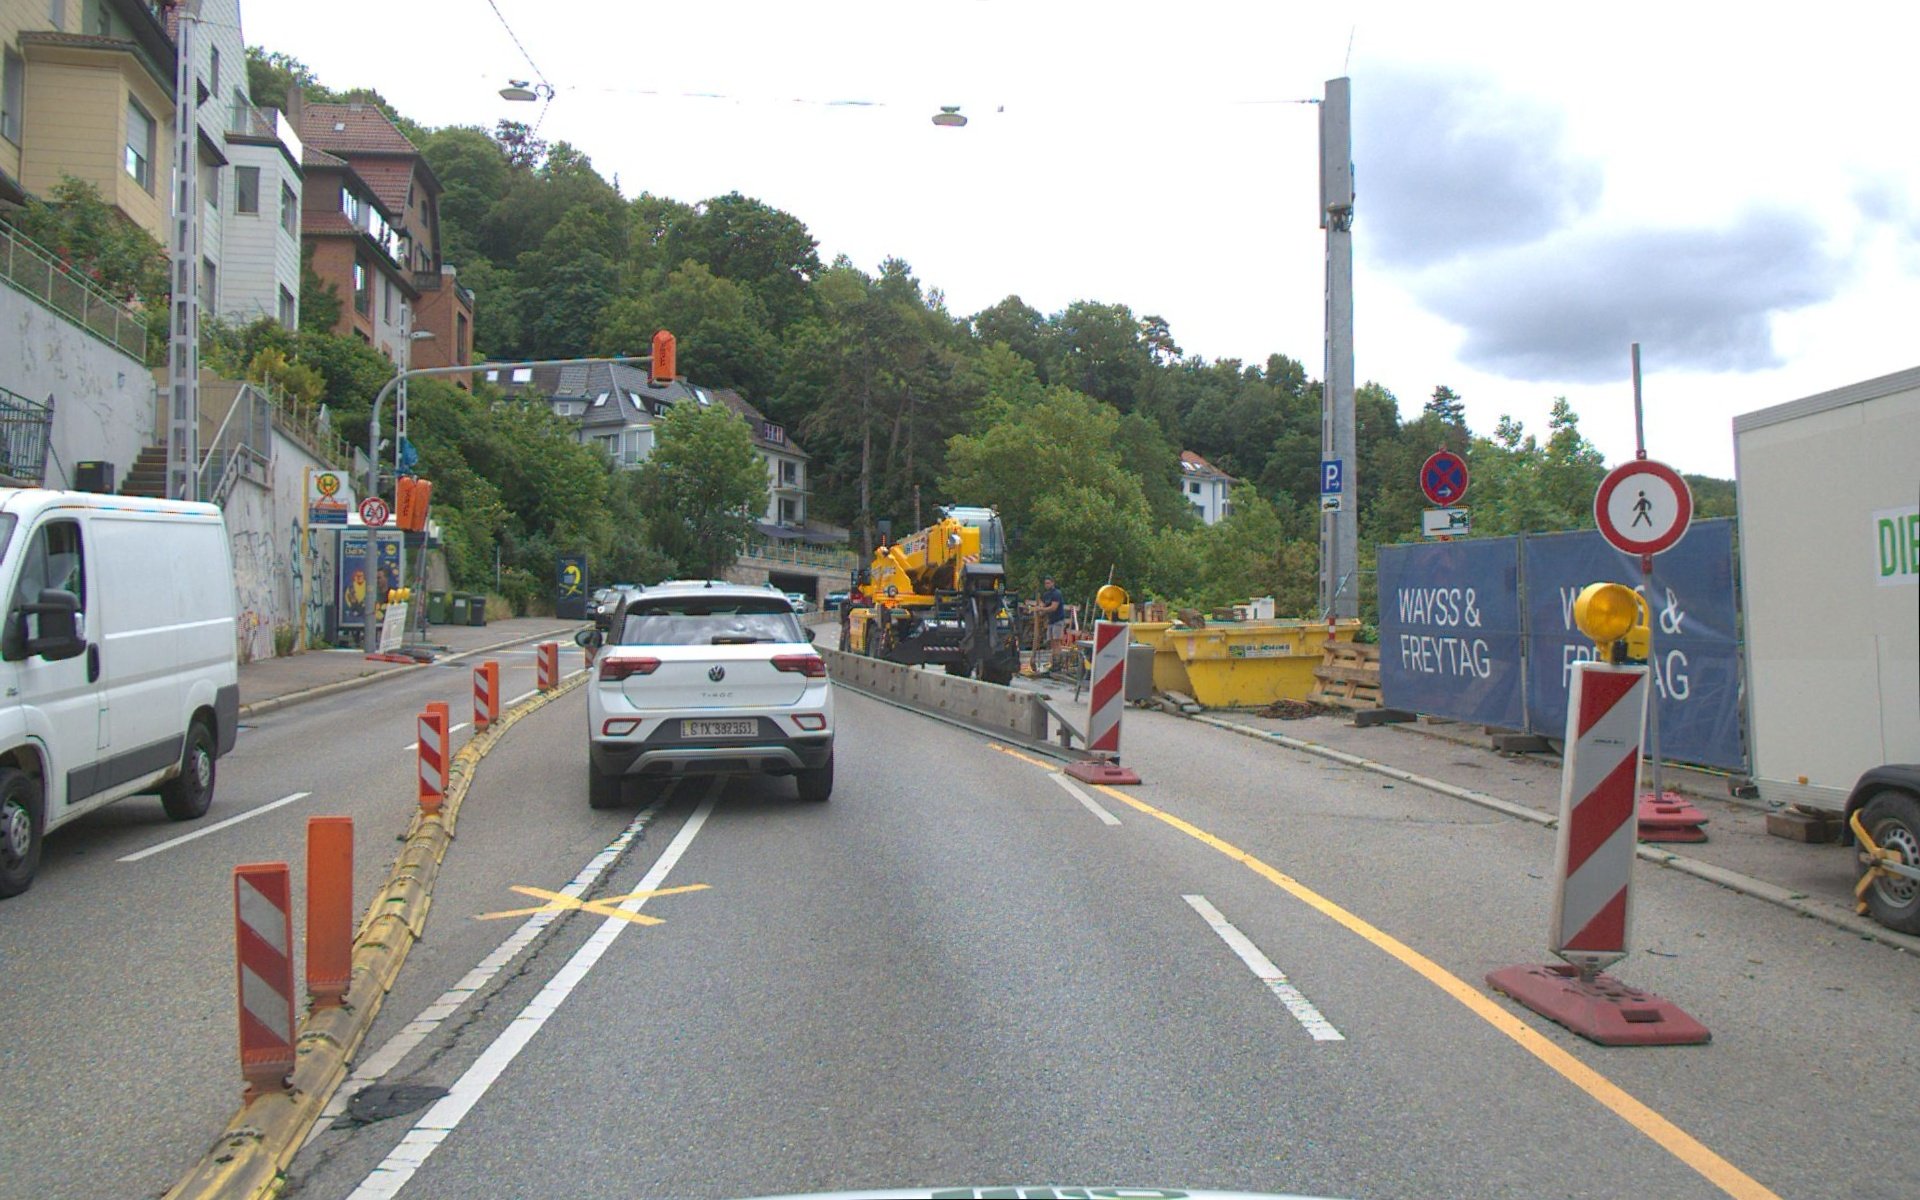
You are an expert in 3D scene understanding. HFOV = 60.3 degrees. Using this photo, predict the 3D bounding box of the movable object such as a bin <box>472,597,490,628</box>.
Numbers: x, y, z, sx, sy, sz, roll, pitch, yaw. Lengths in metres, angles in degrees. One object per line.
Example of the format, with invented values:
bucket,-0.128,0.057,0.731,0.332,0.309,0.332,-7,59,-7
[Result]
movable object such as a bin,-15.281,0.394,52.766,0.459,0.950,0.623,2,0,-9

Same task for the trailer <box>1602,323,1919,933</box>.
trailer,5.089,0.094,7.404,2.065,2.594,5.114,-2,0,-4

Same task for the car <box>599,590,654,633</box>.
car,-11.715,0.378,58.264,1.640,1.455,3.581,0,0,-8

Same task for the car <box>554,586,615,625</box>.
car,-15.952,0.226,70.414,1.758,1.536,3.998,3,0,-3

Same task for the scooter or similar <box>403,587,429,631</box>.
scooter or similar,-15.592,0.237,47.427,0.451,1.226,1.432,2,0,-10

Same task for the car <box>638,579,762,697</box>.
car,-4.185,0.537,26.227,1.777,1.692,3.989,-1,0,-11

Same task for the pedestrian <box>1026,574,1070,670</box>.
pedestrian,1.700,0.422,31.960,0.679,1.826,0.536,0,1,-21

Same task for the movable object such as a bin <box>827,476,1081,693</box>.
movable object such as a bin,-0.373,-0.245,28.092,2.762,3.124,7.800,1,0,-12

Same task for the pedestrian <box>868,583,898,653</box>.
pedestrian,-1.936,0.448,41.588,0.633,1.731,0.848,2,0,-8

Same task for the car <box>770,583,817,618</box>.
car,-8.461,0.017,84.307,1.772,1.692,4.002,-1,0,3

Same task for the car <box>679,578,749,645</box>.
car,-6.655,0.286,44.860,1.776,1.692,3.993,-1,0,-8

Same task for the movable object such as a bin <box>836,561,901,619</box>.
movable object such as a bin,-4.474,-0.489,81.298,2.164,2.709,4.949,1,0,9

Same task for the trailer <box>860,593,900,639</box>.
trailer,-2.724,0.528,56.685,1.262,1.501,3.633,1,0,-2

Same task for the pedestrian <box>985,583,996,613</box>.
pedestrian,2.000,-0.122,108.697,0.676,1.940,0.826,0,0,2

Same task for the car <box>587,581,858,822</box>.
car,-1.991,0.655,13.023,1.778,1.558,3.988,-1,0,-12

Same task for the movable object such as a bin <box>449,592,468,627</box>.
movable object such as a bin,-15.951,0.303,52.652,0.459,1.072,0.623,2,0,-9

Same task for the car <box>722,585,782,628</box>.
car,-8.626,0.246,68.896,1.772,1.692,4.002,-1,0,4

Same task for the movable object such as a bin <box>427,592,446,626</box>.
movable object such as a bin,-16.626,0.285,52.557,0.459,1.072,0.623,2,0,-9

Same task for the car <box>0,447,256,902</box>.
car,-5.969,0.374,9.773,2.028,2.225,4.953,-2,1,-8

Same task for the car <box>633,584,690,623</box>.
car,-12.958,0.142,71.994,1.804,1.627,4.262,0,0,-2

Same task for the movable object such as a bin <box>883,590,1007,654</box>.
movable object such as a bin,-0.547,0.557,45.750,2.331,1.589,7.083,1,0,-10
